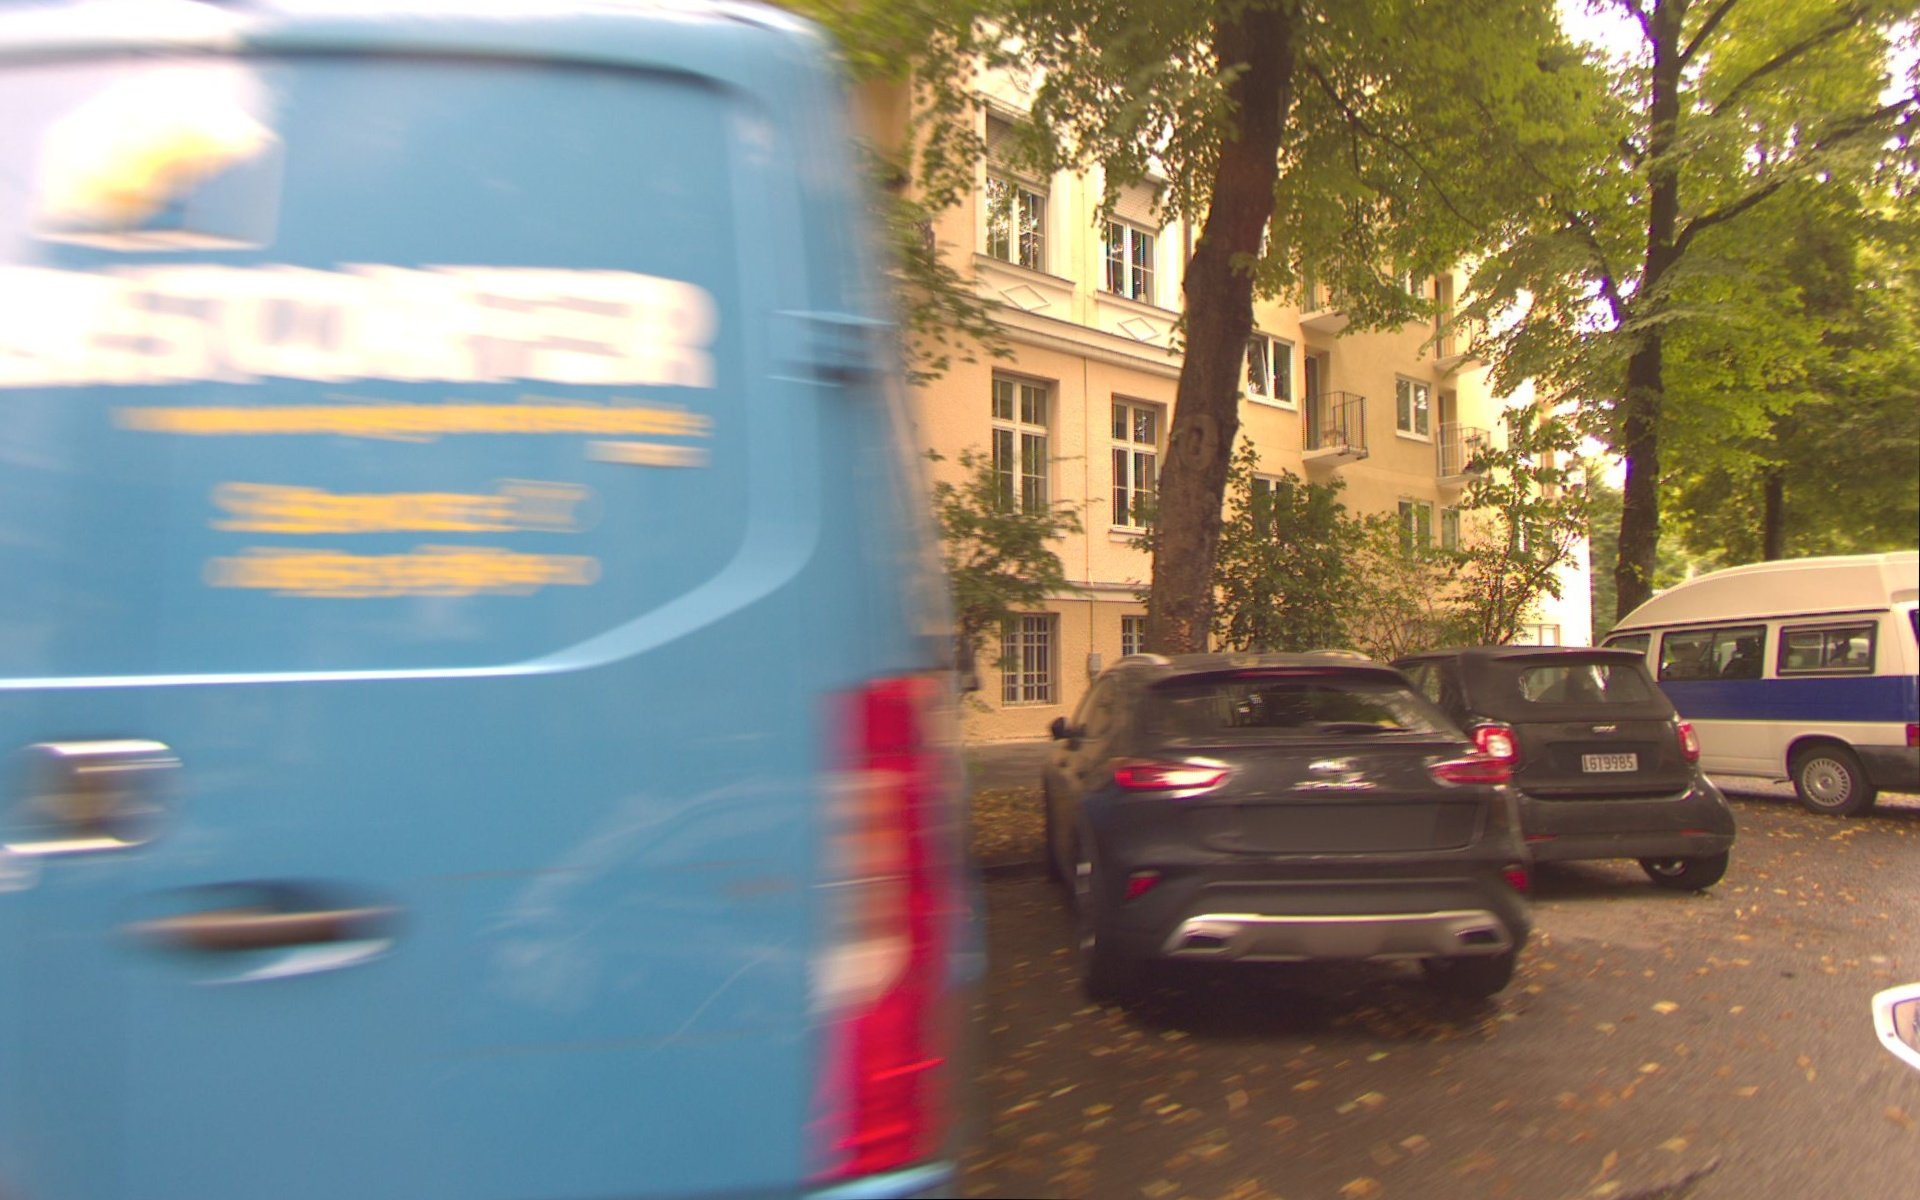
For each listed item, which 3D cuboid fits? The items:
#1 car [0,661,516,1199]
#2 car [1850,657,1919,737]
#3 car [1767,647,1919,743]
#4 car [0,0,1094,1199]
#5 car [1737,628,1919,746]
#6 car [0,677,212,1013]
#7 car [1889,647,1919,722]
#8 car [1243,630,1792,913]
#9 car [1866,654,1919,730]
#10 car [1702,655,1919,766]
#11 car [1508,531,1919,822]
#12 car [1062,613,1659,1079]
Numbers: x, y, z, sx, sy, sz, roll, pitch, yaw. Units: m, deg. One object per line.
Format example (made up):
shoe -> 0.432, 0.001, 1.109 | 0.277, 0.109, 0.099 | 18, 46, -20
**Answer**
car -> -3.179, 0.957, 3.520 | 1.611, 1.451, 3.556 | 0, -4, 0
car -> 18.950, 1.762, 18.259 | 1.724, 1.459, 3.853 | 2, -4, -36
car -> 16.985, 1.618, 17.326 | 1.814, 1.617, 4.428 | 1, -3, -30
car -> -0.881, 0.477, 3.751 | 2.025, 2.384, 5.499 | 0, -5, 0
car -> 15.024, 1.324, 15.594 | 1.828, 1.753, 4.291 | 1, -4, -32
car -> -5.280, 1.032, 3.739 | 1.768, 1.532, 4.289 | 0, -7, -1
car -> 22.878, 1.807, 21.478 | 1.719, 1.622, 4.135 | 0, -3, -36
car -> 3.728, 1.109, 7.648 | 1.781, 1.580, 3.867 | 0, -4, -5
car -> 20.620, 1.801, 19.676 | 1.719, 1.483, 3.961 | 1, -4, -35
car -> 12.993, 1.491, 13.955 | 1.719, 1.452, 3.961 | 2, -4, -35
car -> 8.389, 0.794, 10.675 | 1.872, 2.408, 4.574 | 0, -4, -13
car -> 1.549, 0.978, 5.437 | 1.779, 1.556, 4.003 | 0, -4, 3
